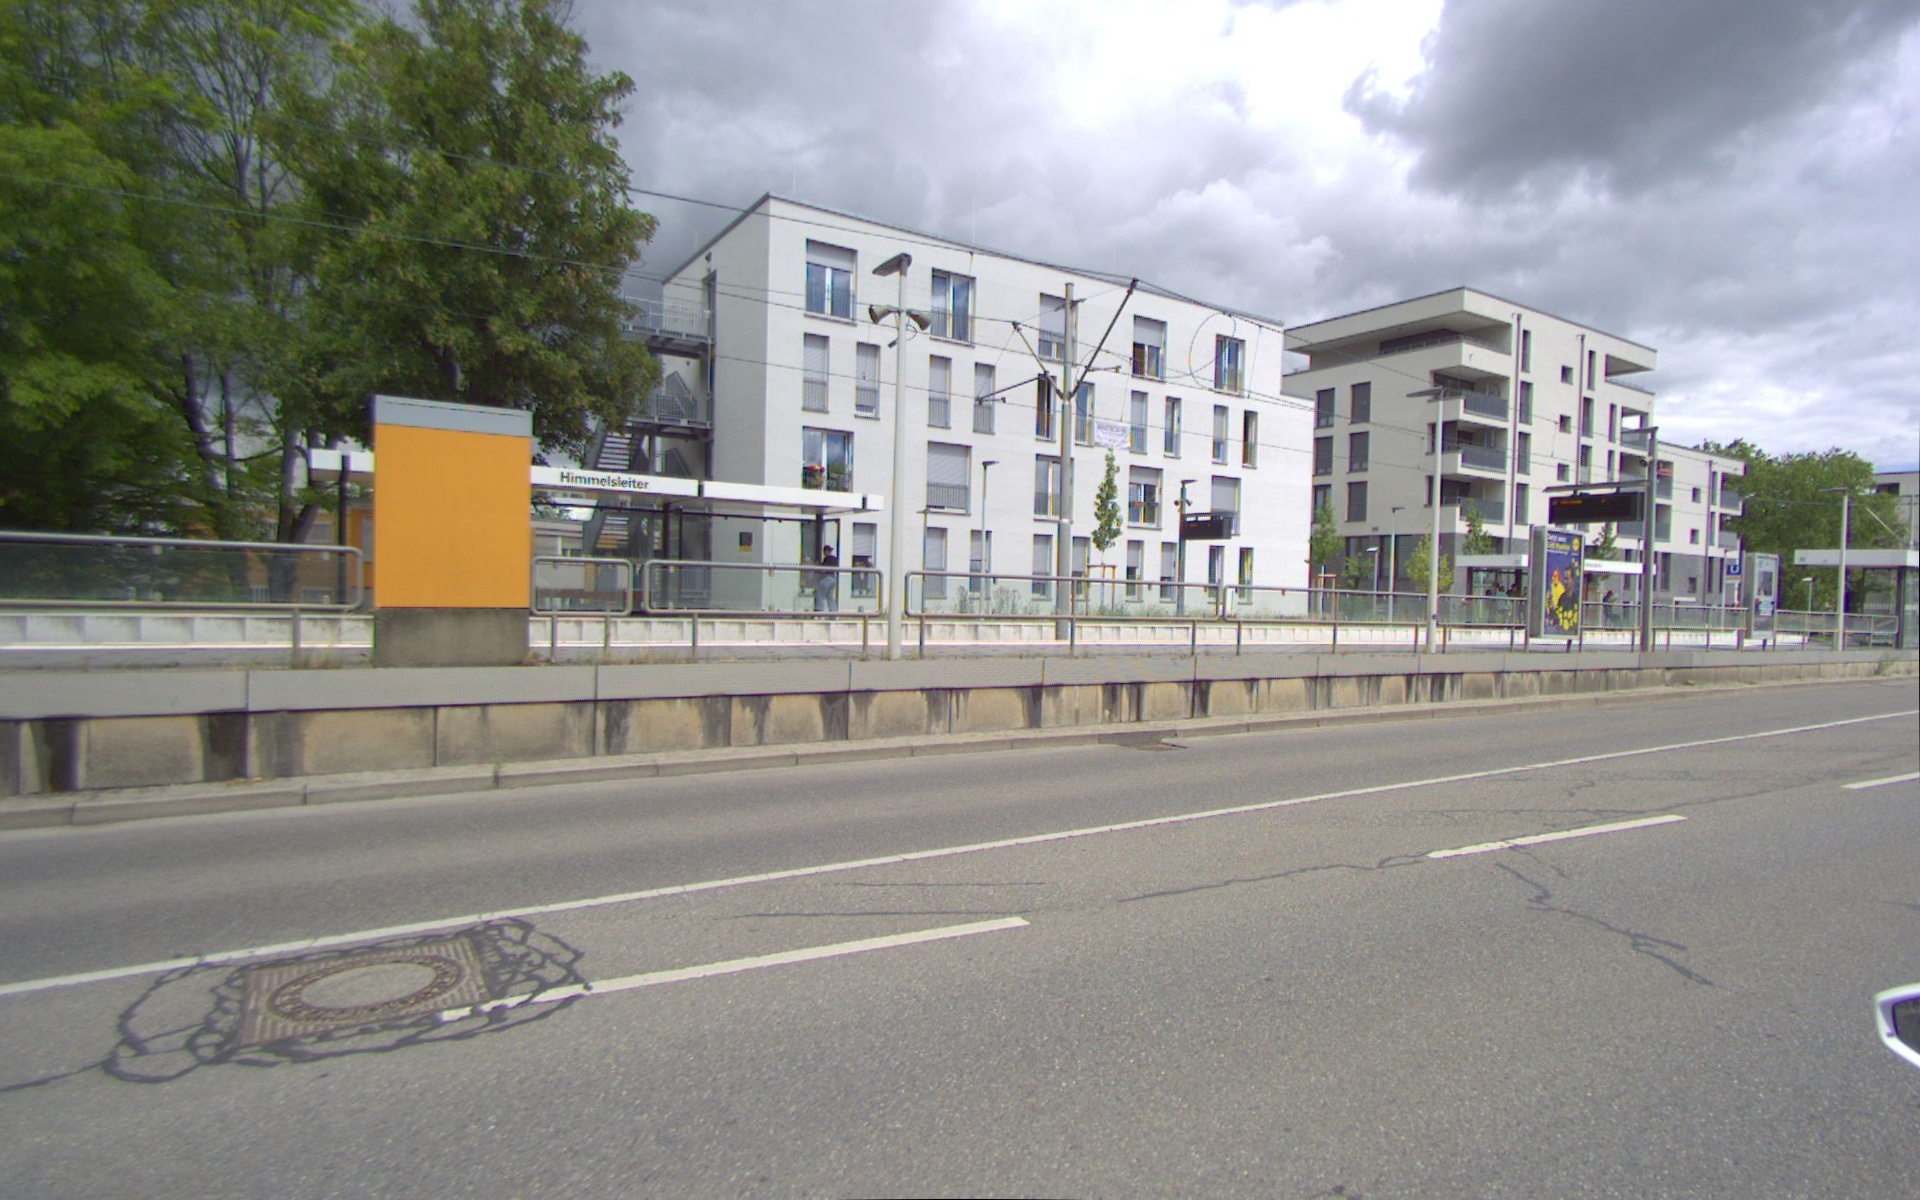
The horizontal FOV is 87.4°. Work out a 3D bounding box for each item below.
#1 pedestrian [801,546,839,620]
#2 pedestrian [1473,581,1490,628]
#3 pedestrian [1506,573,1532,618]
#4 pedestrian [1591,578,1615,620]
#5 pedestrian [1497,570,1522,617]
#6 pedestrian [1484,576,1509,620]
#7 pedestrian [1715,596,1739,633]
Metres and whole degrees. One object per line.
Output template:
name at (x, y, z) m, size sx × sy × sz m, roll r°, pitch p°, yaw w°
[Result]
pedestrian at (-3.005, -0.361, 21.573) m, size 0.540 × 1.551 × 0.738 m, roll 1°, pitch 1°, yaw -30°
pedestrian at (19.818, 0.171, 38.163) m, size 0.479 × 1.748 × 0.677 m, roll 2°, pitch 1°, yaw 23°
pedestrian at (20.893, -0.170, 37.549) m, size 0.664 × 1.618 × 0.489 m, roll 2°, pitch 1°, yaw 2°
pedestrian at (27.643, -0.057, 43.173) m, size 0.670 × 1.789 × 0.558 m, roll 1°, pitch 1°, yaw -31°
pedestrian at (21.391, -0.250, 39.089) m, size 0.664 × 1.789 × 0.489 m, roll 2°, pitch 1°, yaw 2°
pedestrian at (19.985, -0.080, 37.438) m, size 0.664 × 1.618 × 0.489 m, roll 2°, pitch 1°, yaw 10°
pedestrian at (38.116, 0.710, 49.933) m, size 0.925 × 1.789 × 0.671 m, roll 1°, pitch 1°, yaw -36°
